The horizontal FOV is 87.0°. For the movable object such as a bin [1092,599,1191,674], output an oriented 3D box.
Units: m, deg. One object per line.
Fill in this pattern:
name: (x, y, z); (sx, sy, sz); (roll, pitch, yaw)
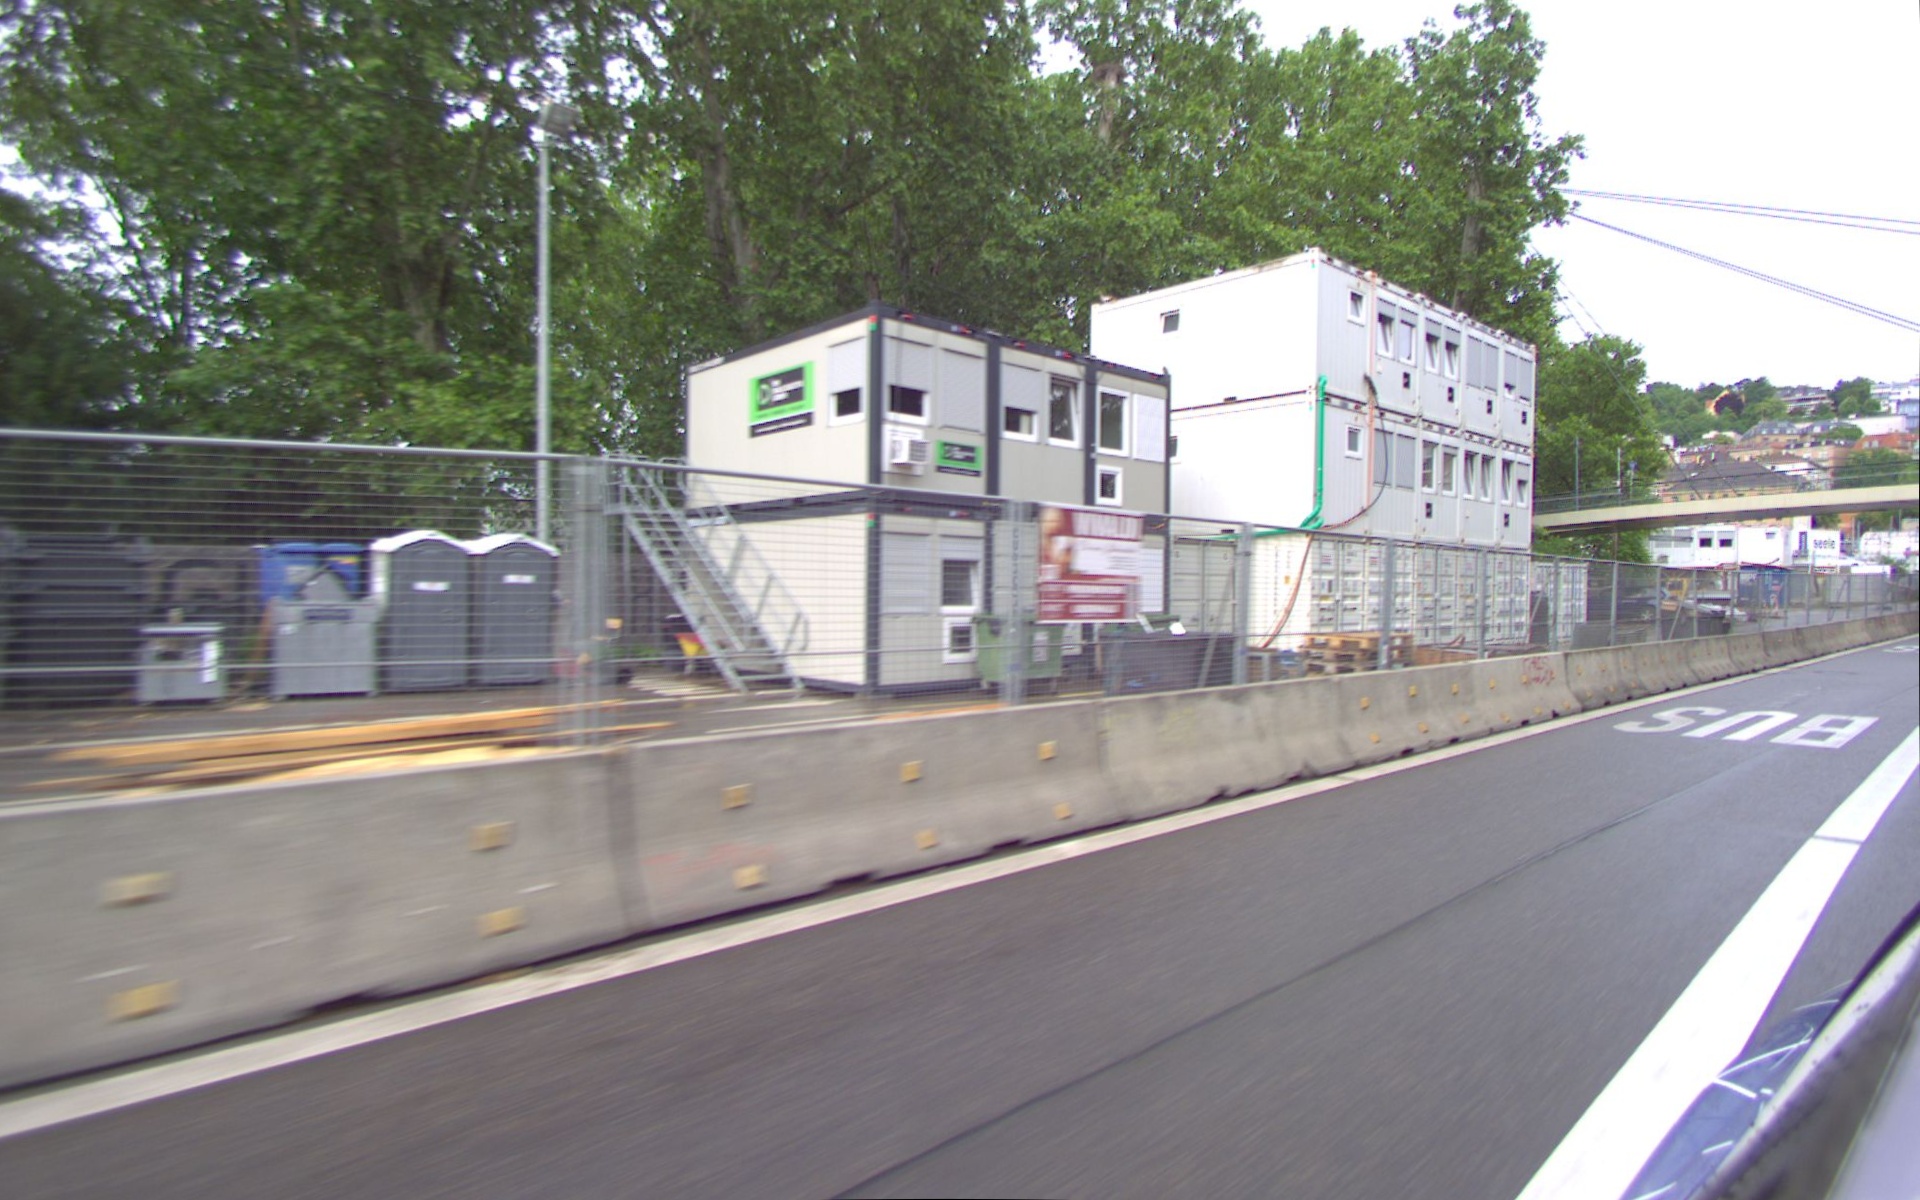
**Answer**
movable object such as a bin: (3.196, 0.612, 17.849); (1.218, 1.136, 1.249); (-3, 5, -41)

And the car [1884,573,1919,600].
car: (68.092, -0.983, 73.157); (1.851, 1.501, 3.943); (3, 8, 42)

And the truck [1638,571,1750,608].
truck: (43.745, -0.686, 60.410); (5.154, 2.038, 2.372); (2, 4, 44)

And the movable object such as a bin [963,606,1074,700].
movable object such as a bin: (0.902, 0.785, 15.736); (1.218, 1.251, 1.249); (-3, 5, -41)

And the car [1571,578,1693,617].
car: (31.742, -0.166, 47.886); (1.968, 1.749, 4.501); (-2, 2, -45)
